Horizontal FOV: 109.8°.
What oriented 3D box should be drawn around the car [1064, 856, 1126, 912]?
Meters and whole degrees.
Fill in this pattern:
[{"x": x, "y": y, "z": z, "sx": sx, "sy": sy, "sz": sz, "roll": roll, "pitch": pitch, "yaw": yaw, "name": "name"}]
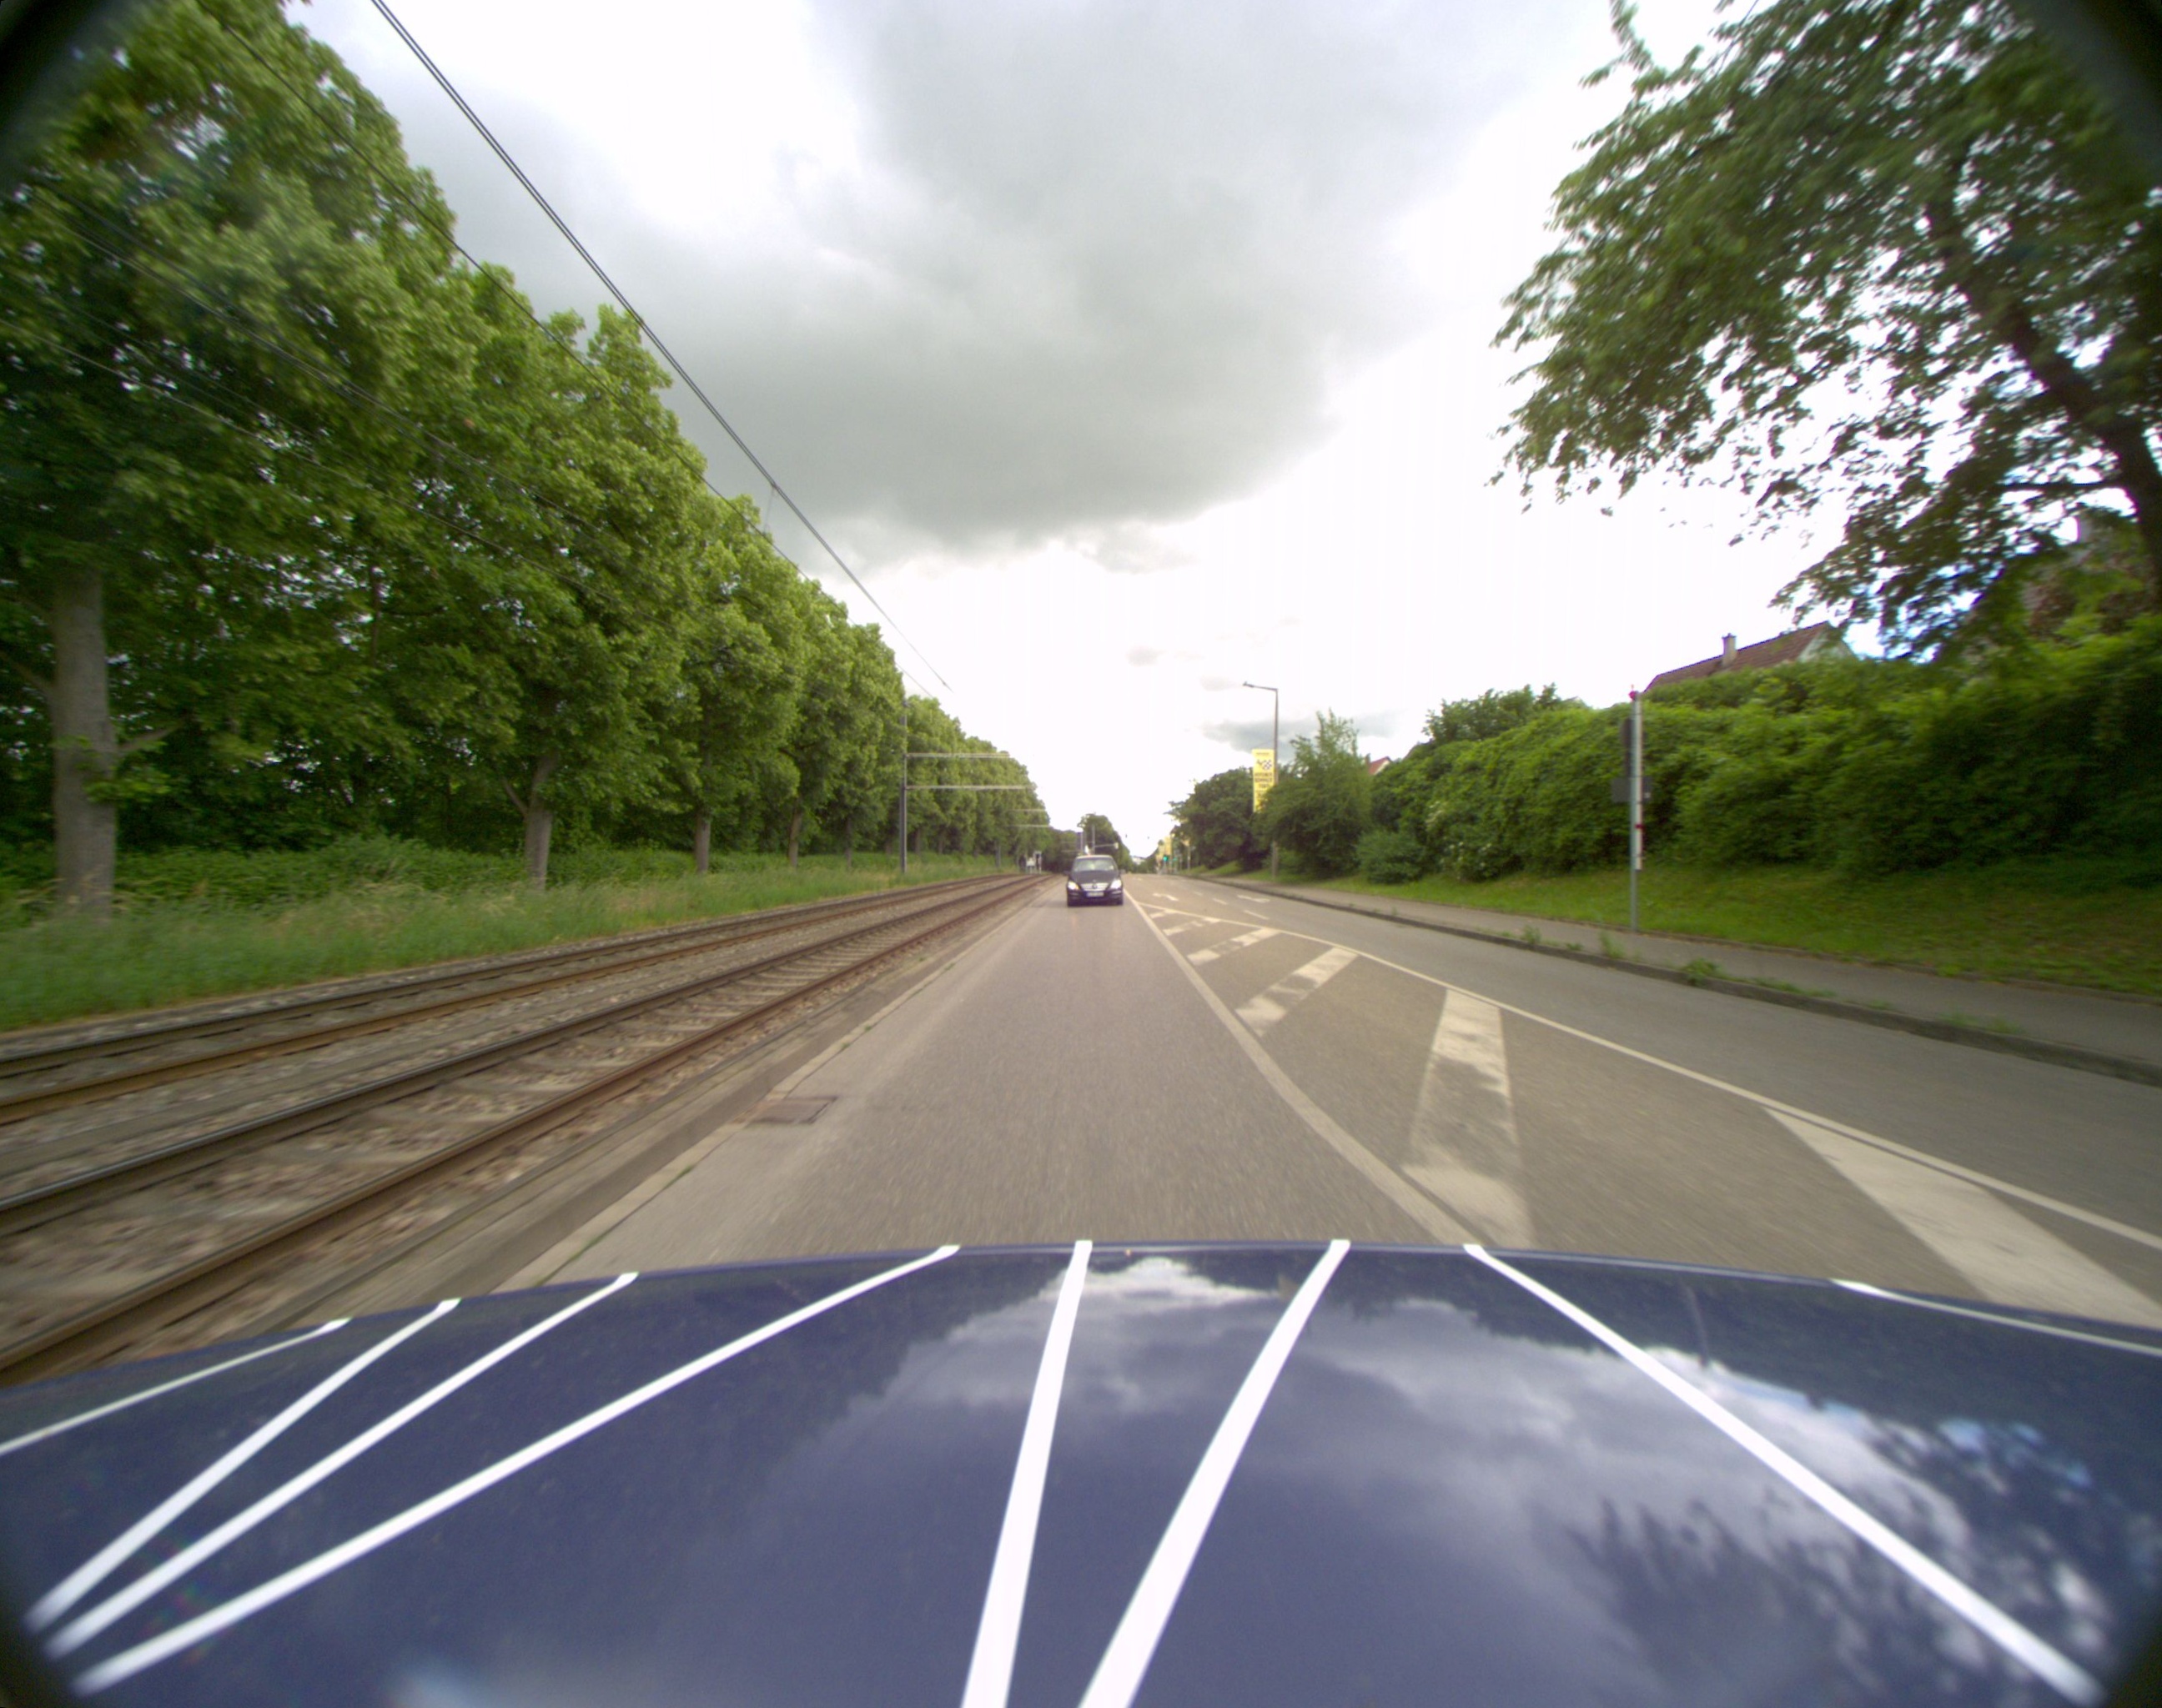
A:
[{"x": 0.496, "y": 0.874, "z": 23.853, "sx": 1.749, "sy": 1.558, "sz": 4.122, "roll": -1, "pitch": 0, "yaw": 3, "name": "car"}]
